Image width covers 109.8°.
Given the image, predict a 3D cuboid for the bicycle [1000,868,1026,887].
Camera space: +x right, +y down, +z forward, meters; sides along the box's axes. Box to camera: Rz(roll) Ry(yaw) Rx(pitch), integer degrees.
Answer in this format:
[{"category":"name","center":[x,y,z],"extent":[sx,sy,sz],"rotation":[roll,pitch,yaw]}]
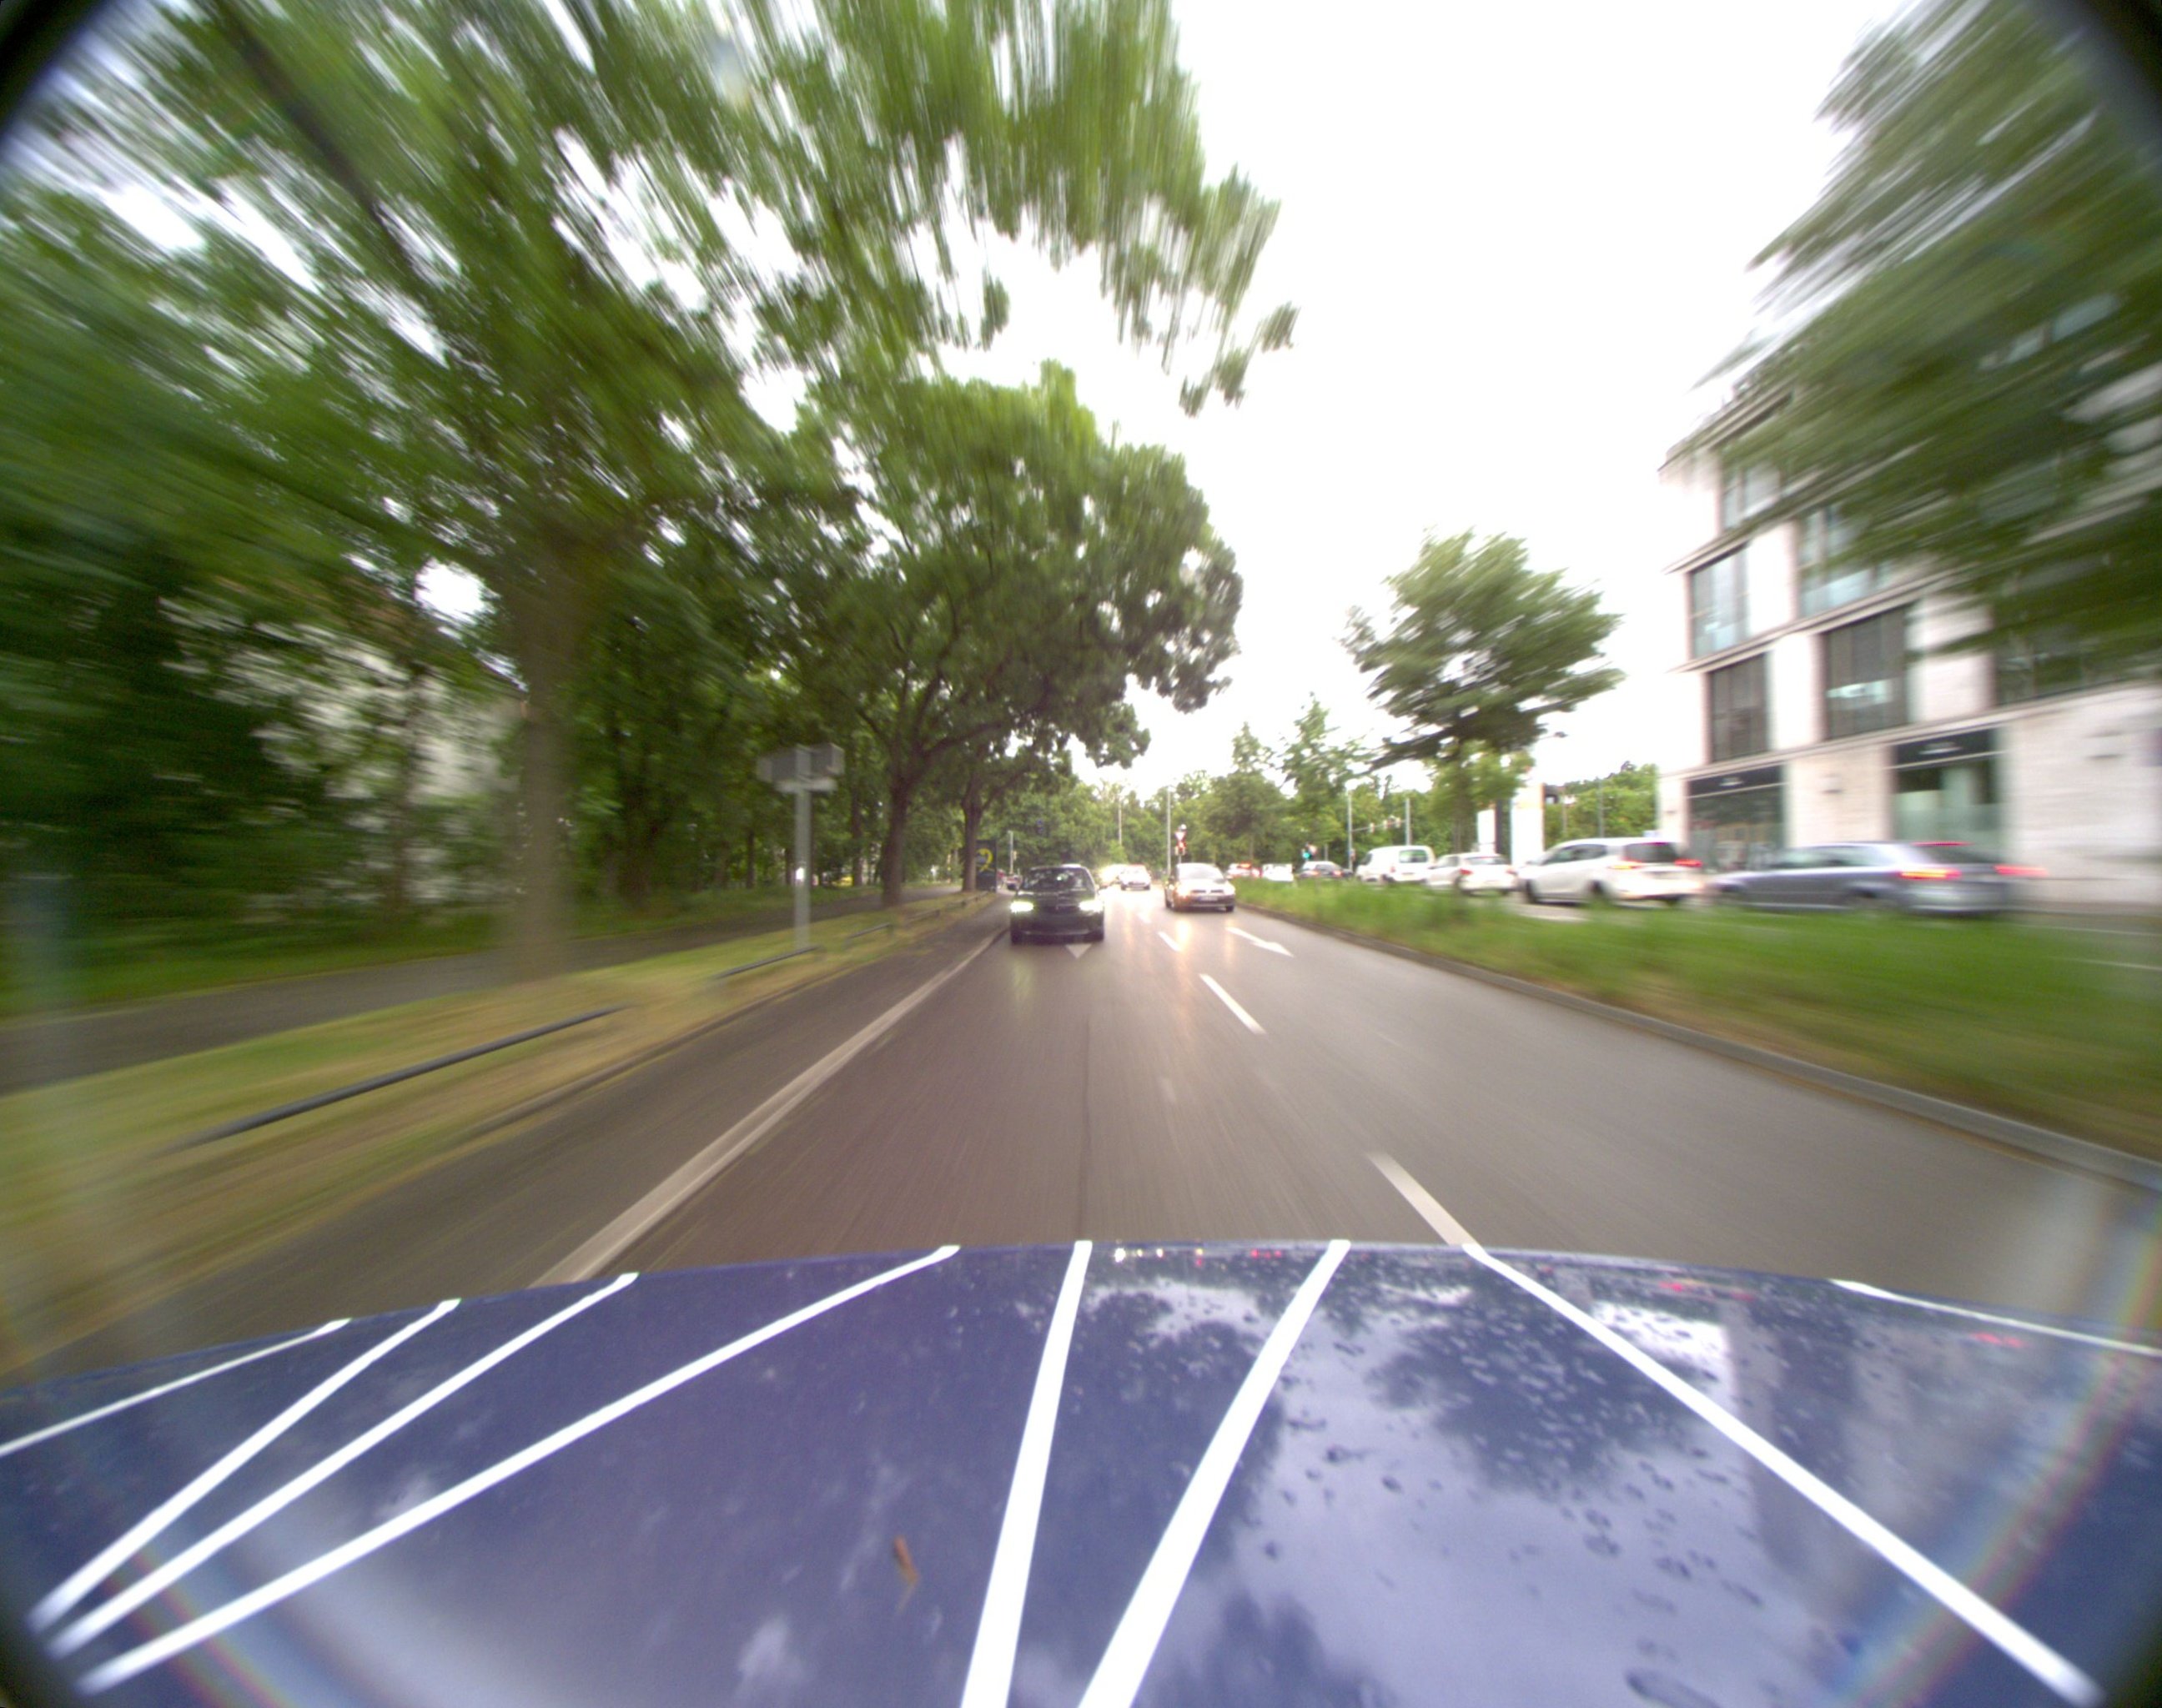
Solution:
[{"category":"bicycle","center":[-4.328,1.492,48.688],"extent":[1.600,1.124,0.556],"rotation":[2,0,-5]}]

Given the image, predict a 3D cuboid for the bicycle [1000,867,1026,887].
[{"category":"bicycle","center":[-3.963,1.348,44.226],"extent":[1.490,1.124,0.556],"rotation":[2,0,-5]}]

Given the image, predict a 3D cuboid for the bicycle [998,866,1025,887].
[{"category":"bicycle","center":[-3.865,1.246,42.271],"extent":[1.490,1.124,0.556],"rotation":[2,0,-5]}]

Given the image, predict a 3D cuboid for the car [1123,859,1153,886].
[{"category":"car","center":[3.405,1.114,45.250],"extent":[1.669,1.520,3.660],"rotation":[-1,-2,5]}]

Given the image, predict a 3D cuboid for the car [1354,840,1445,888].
[{"category":"car","center":[13.089,0.460,31.558],"extent":[1.848,1.791,4.775],"rotation":[-2,-2,1]}]

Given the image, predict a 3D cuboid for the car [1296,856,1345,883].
[{"category":"car","center":[13.308,0.911,42.343],"extent":[1.718,1.451,3.752],"rotation":[0,-2,3]}]

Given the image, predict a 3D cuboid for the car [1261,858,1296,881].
[{"category":"car","center":[13.810,1.120,53.228],"extent":[1.654,1.566,3.704],"rotation":[0,-2,3]}]

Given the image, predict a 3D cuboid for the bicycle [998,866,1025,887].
[{"category":"bicycle","center":[-3.950,1.294,43.242],"extent":[1.490,1.124,0.556],"rotation":[2,0,-5]}]

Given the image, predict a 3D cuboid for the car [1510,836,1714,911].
[{"category":"car","center":[12.699,0.415,18.627],"extent":[1.833,1.591,4.674],"rotation":[-1,0,1]}]

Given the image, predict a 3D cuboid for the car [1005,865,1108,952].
[{"category":"car","center":[-0.448,1.004,15.820],"extent":[1.804,1.422,4.519],"rotation":[-2,0,0]}]

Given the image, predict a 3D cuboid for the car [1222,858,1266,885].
[{"category":"car","center":[10.319,1.155,48.431],"extent":[1.853,1.565,4.166],"rotation":[-2,-3,0]}]

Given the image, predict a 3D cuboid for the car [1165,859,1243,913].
[{"category":"car","center":[3.777,0.937,23.950],"extent":[1.904,1.431,4.000],"rotation":[-3,0,2]}]

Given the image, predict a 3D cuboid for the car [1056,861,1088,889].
[{"category":"car","center":[-0.551,1.189,42.845],"extent":[1.645,1.511,3.579],"rotation":[-1,-1,-3]}]

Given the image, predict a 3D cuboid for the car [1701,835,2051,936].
[{"category":"car","center":[12.685,0.476,12.567],"extent":[1.645,1.402,3.997],"rotation":[0,-1,1]}]

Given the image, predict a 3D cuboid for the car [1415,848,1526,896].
[{"category":"car","center":[12.997,0.559,25.642],"extent":[1.748,1.459,4.060],"rotation":[0,0,2]}]

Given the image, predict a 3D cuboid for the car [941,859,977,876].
[{"category":"car","center":[-15.328,1.673,95.819],"extent":[1.995,2.001,4.009],"rotation":[-2,-2,45]}]
